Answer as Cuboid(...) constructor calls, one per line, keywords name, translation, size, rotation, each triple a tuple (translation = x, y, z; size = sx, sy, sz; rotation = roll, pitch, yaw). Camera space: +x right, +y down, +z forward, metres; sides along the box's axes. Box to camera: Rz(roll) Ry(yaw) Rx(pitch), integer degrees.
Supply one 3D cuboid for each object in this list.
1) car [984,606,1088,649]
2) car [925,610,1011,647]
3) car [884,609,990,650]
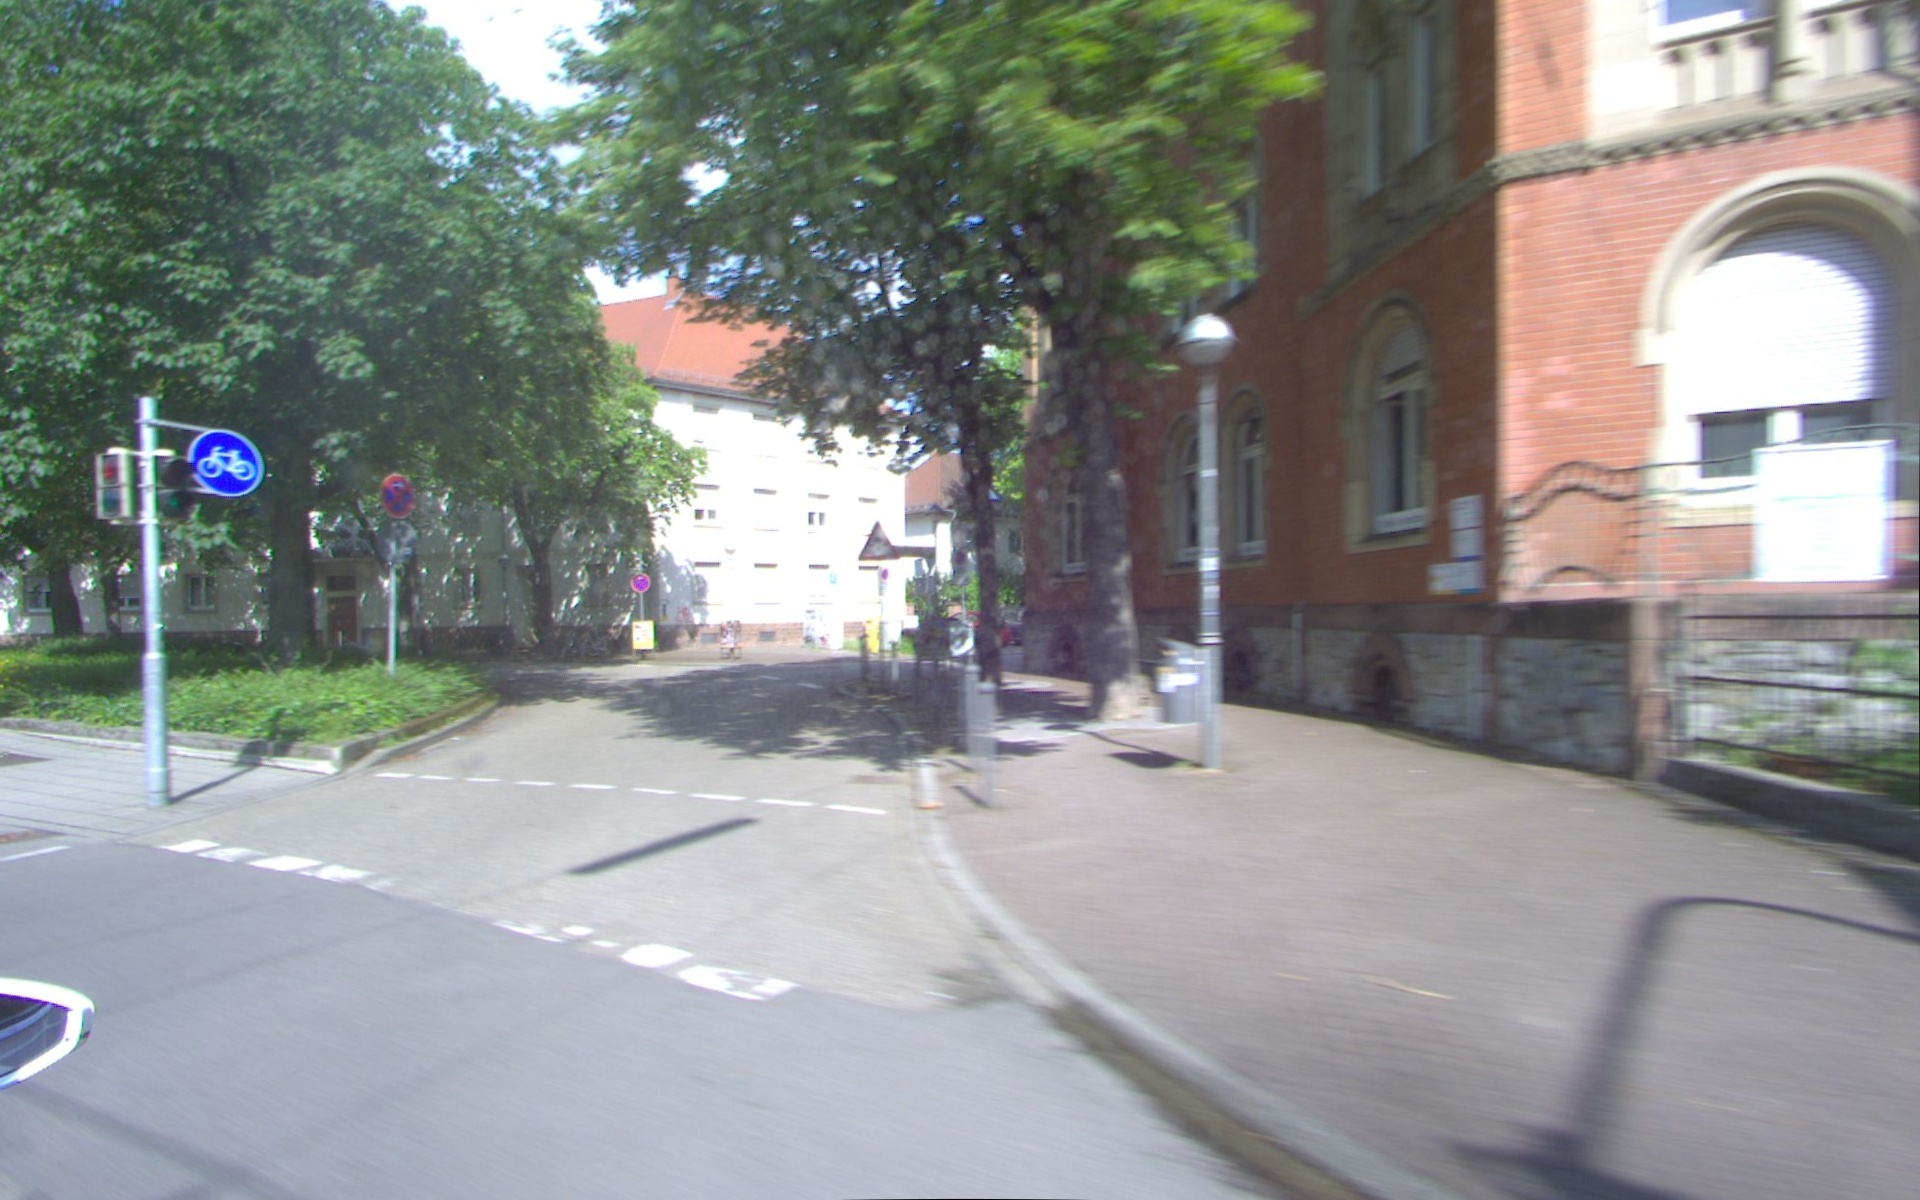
Cuboid(name="car", translation=(3.110, 1.114, 41.445), size=(1.834, 1.706, 4.086), rotation=(0, -1, -44))
Cuboid(name="car", translation=(0.295, 1.132, 40.401), size=(1.548, 1.441, 3.380), rotation=(0, -1, -45))
Cuboid(name="car", translation=(-0.917, 1.100, 38.099), size=(1.785, 1.461, 3.960), rotation=(0, -1, -45))
